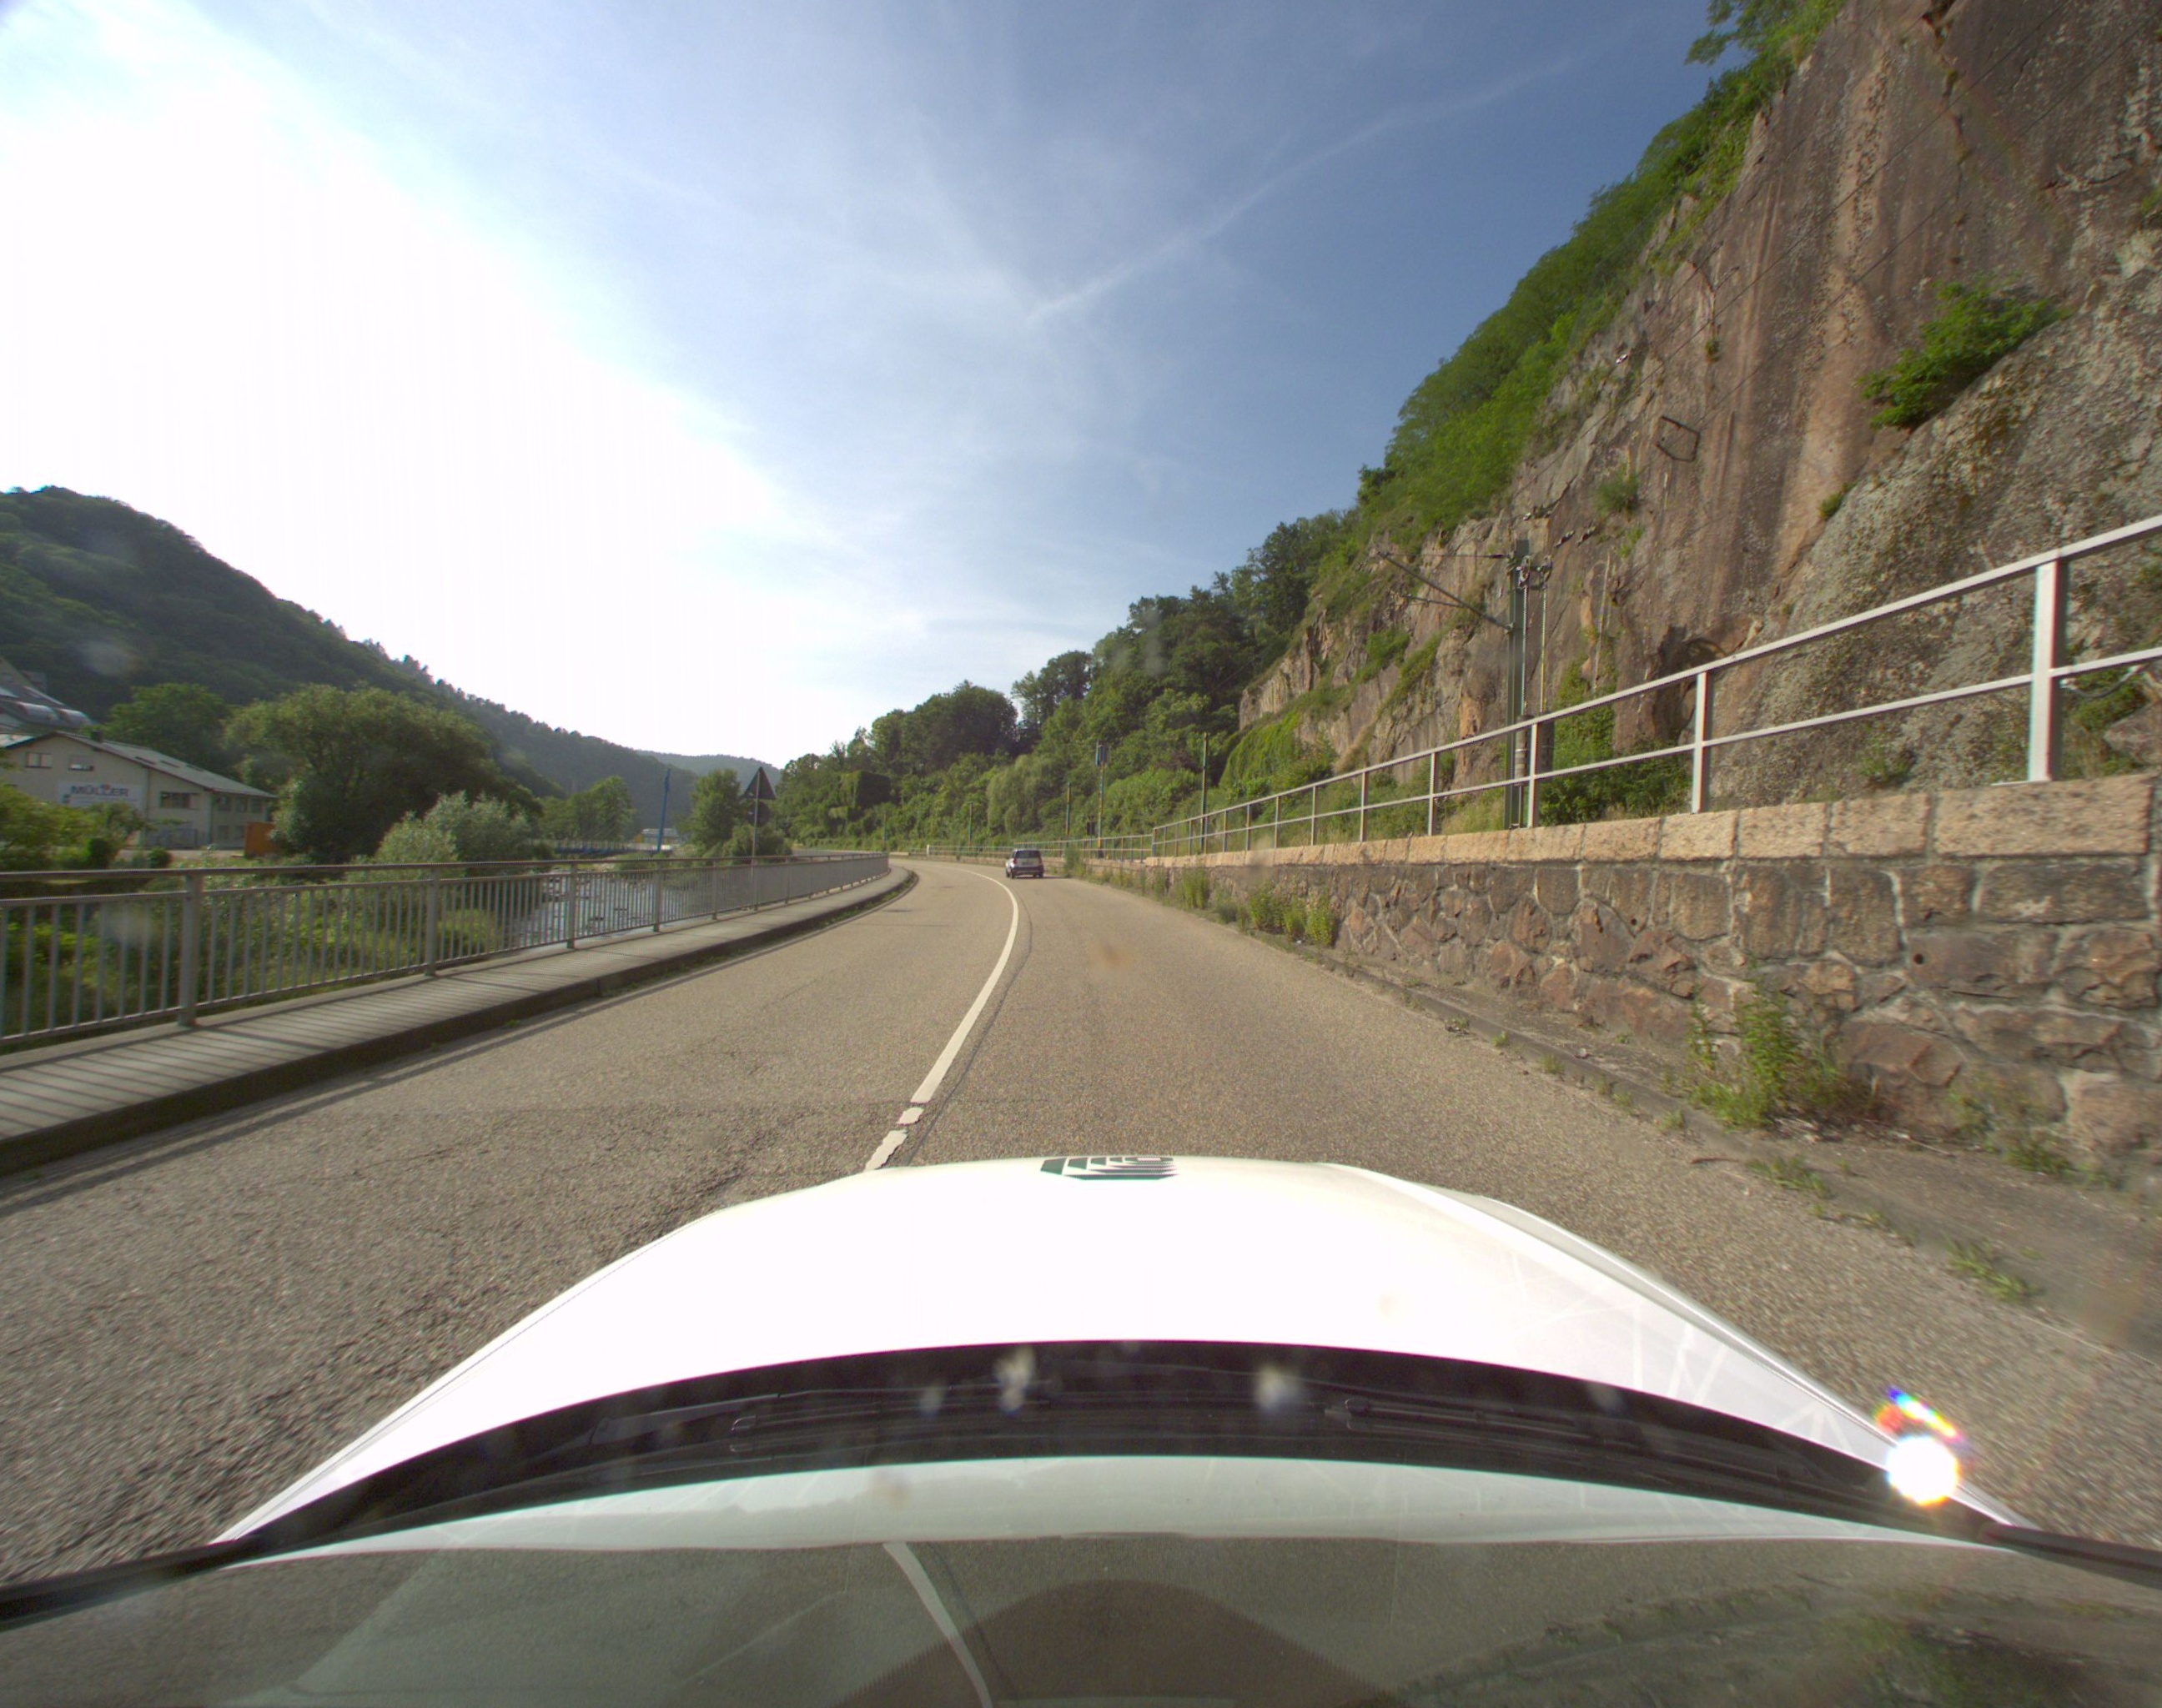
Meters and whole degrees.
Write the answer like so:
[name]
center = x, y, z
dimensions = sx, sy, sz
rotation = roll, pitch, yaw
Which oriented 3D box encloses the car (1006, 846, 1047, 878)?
[car]
center = -3.052, 0.405, 45.202
dimensions = 1.872, 1.655, 3.987
rotation = 0, 1, -10
